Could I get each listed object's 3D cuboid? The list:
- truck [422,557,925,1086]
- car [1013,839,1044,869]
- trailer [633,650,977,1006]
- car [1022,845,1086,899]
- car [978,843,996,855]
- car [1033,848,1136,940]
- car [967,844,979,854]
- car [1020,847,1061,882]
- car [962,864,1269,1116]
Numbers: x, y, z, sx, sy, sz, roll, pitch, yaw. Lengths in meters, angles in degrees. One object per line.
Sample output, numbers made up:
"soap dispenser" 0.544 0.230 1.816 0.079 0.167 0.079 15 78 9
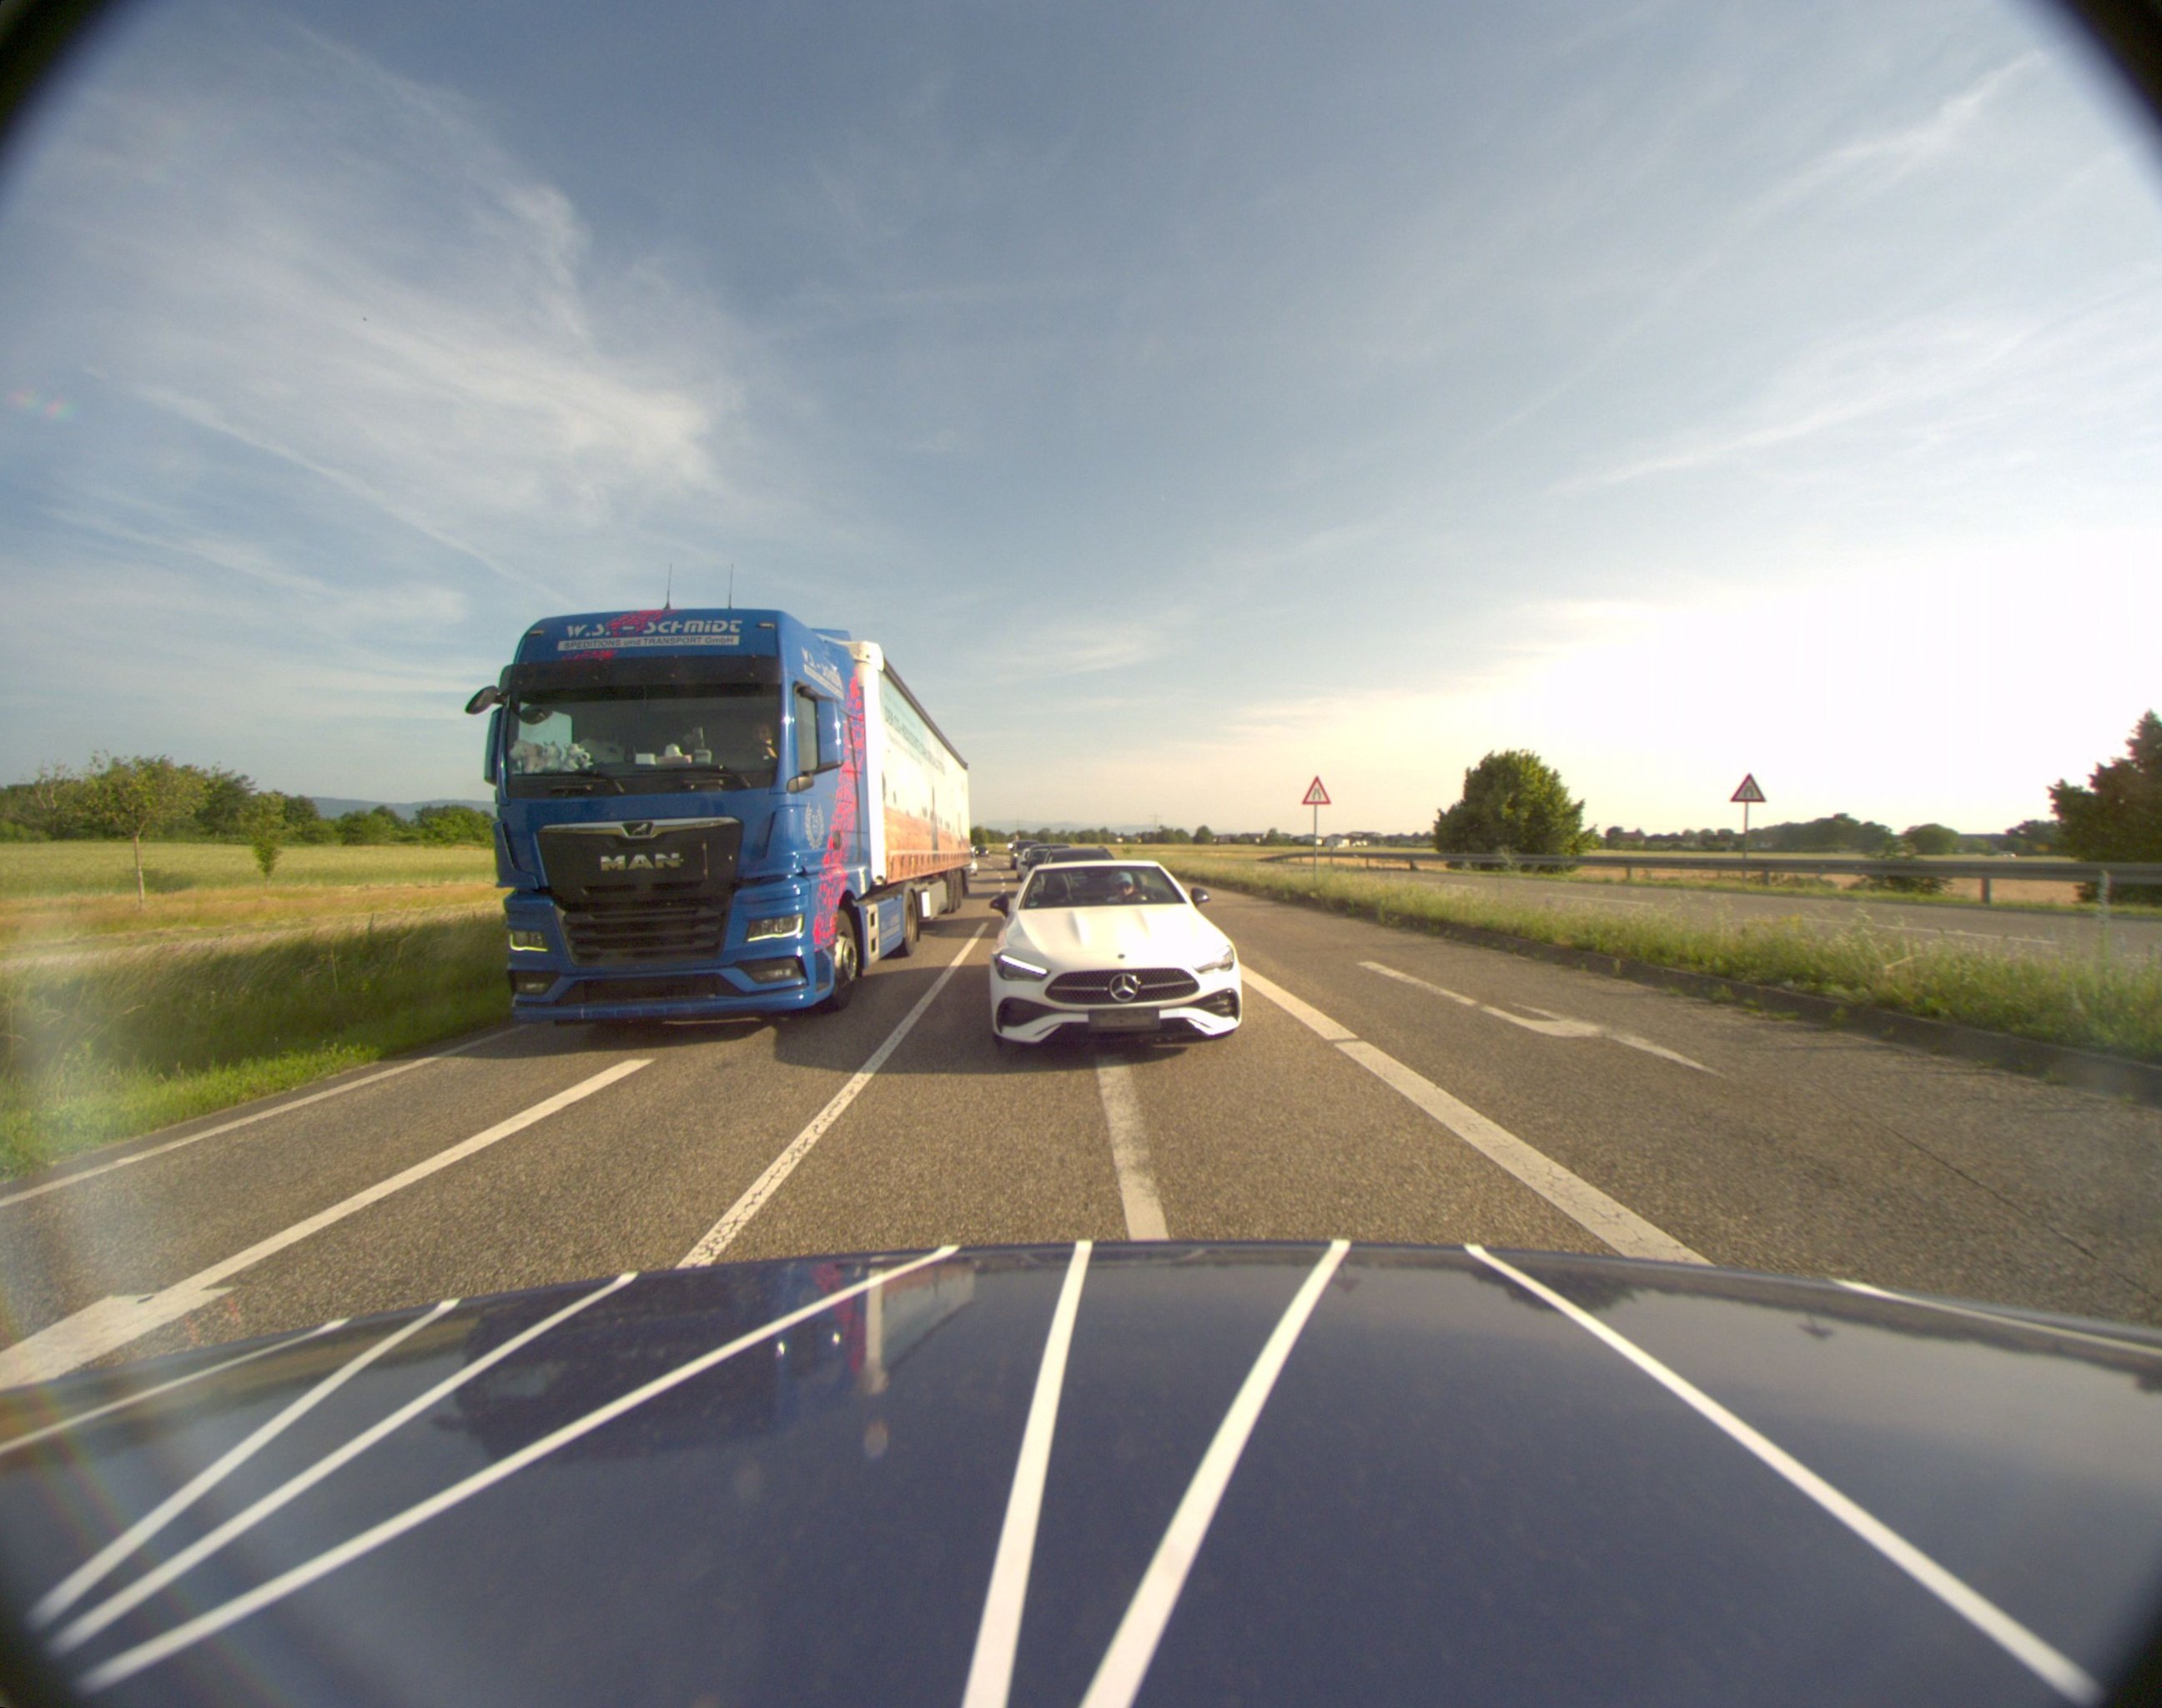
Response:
"truck" -3.640 -0.306 8.708 2.652 3.897 5.947 -2 1 -4
"car" -3.450 -0.052 49.303 1.832 1.831 3.997 -1 1 -6
"trailer" -4.055 -0.423 15.589 2.652 3.956 13.923 -2 1 -4
"car" -0.944 0.496 24.119 1.831 1.521 3.997 -1 1 -4
"car" -12.064 -0.636 97.306 2.000 1.525 3.995 -1 1 -12
"car" -0.069 0.673 15.146 1.752 1.521 3.998 -1 1 -4
"car" -17.298 -0.789 121.306 1.755 1.608 3.808 -1 1 -10
"car" -1.838 0.427 33.675 1.695 1.406 3.997 -1 1 -4
"car" 0.183 0.868 6.793 1.876 1.390 4.203 -1 1 -1
